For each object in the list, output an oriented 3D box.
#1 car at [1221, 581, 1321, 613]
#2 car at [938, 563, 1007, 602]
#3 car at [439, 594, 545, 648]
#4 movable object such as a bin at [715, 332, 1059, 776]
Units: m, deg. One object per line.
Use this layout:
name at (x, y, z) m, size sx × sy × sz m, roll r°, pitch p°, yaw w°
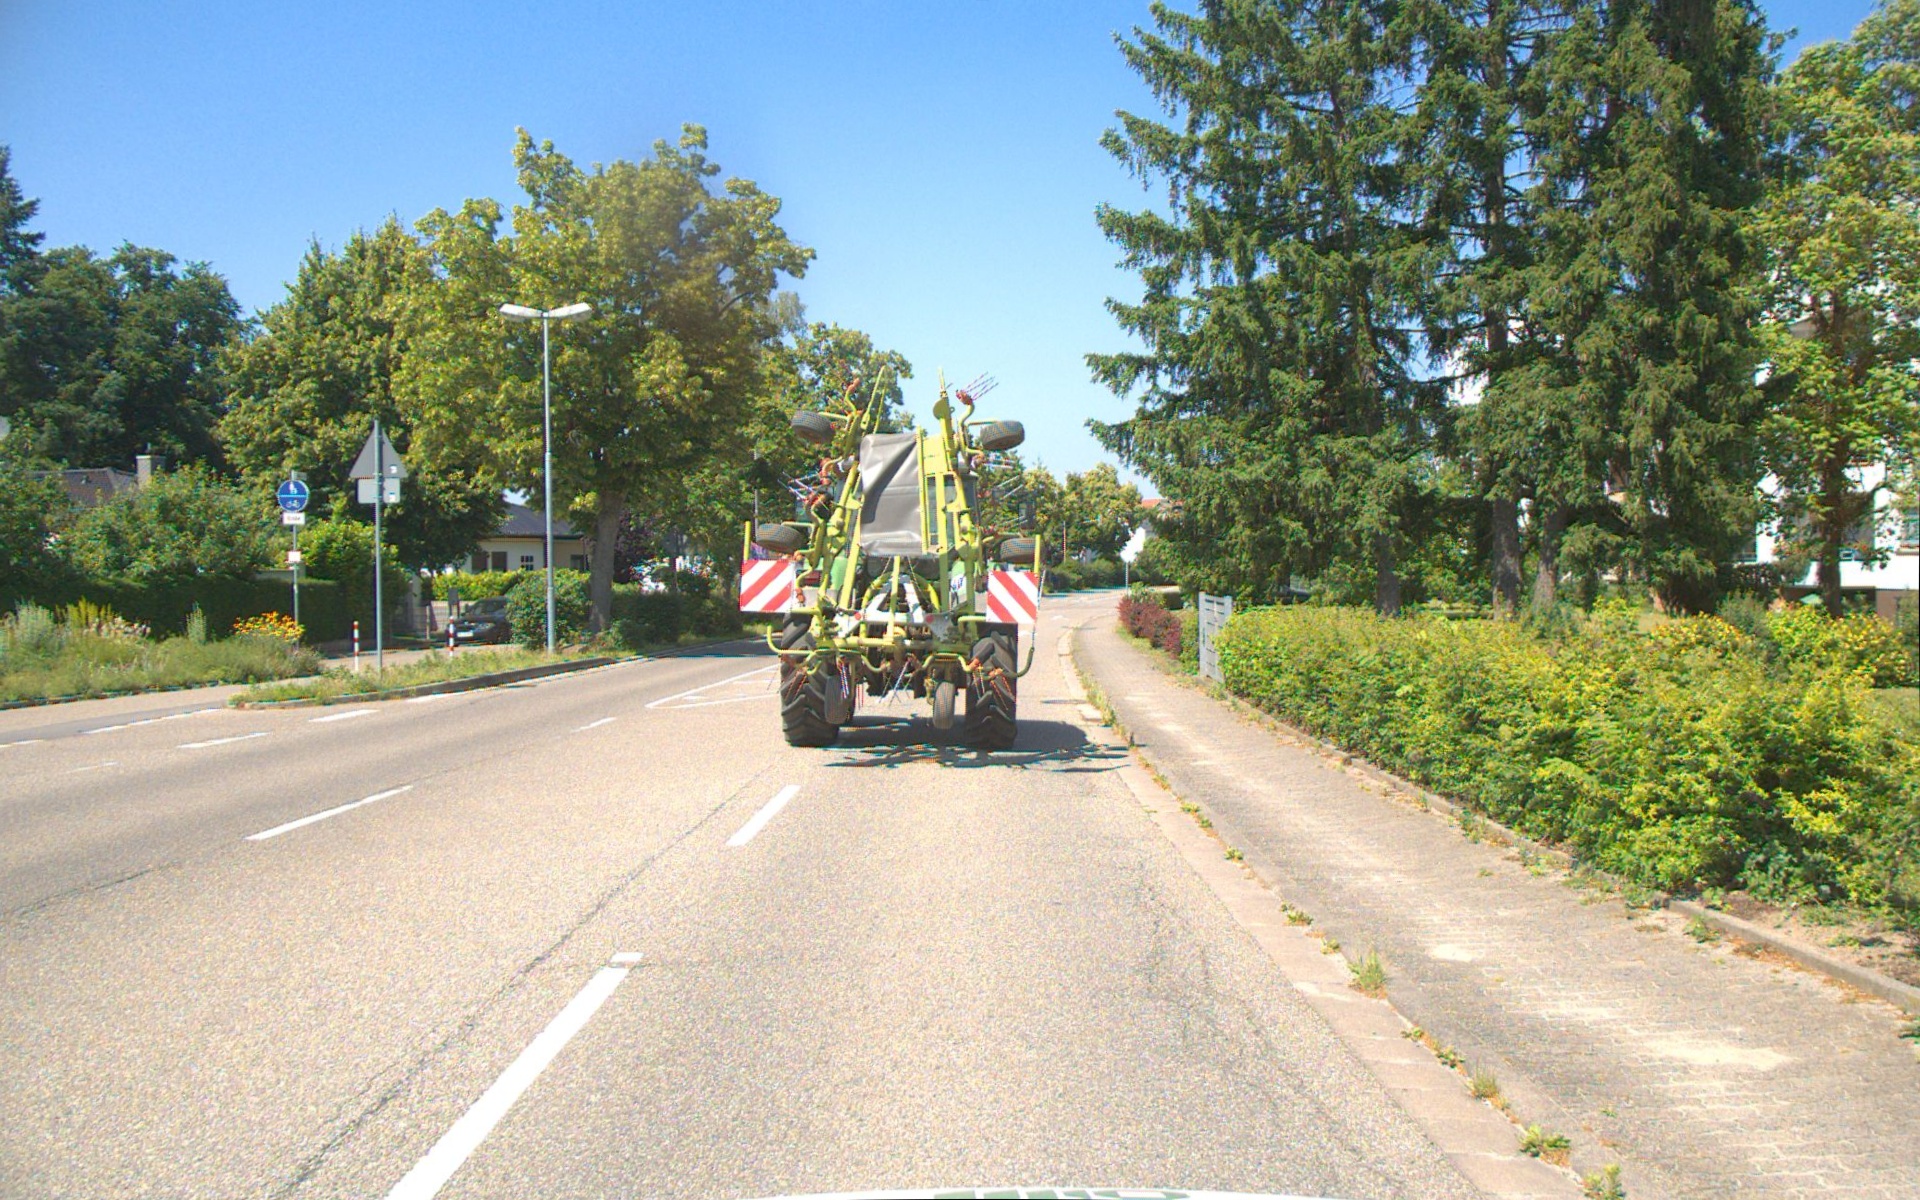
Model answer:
car at (12.931, -0.121, 68.746) m, size 3.744 × 1.317 × 1.679 m, roll 0°, pitch 0°, yaw -12°
car at (0.610, -0.792, 76.840) m, size 1.819 × 1.745 × 3.999 m, roll 0°, pitch 0°, yaw 23°
car at (-13.832, 0.589, 49.092) m, size 1.652 × 1.557 × 4.003 m, roll 0°, pitch 0°, yaw 6°
movable object such as a bin at (-0.555, -0.387, 18.313) m, size 2.794 × 3.603 × 9.701 m, roll 0°, pitch 0°, yaw 0°
